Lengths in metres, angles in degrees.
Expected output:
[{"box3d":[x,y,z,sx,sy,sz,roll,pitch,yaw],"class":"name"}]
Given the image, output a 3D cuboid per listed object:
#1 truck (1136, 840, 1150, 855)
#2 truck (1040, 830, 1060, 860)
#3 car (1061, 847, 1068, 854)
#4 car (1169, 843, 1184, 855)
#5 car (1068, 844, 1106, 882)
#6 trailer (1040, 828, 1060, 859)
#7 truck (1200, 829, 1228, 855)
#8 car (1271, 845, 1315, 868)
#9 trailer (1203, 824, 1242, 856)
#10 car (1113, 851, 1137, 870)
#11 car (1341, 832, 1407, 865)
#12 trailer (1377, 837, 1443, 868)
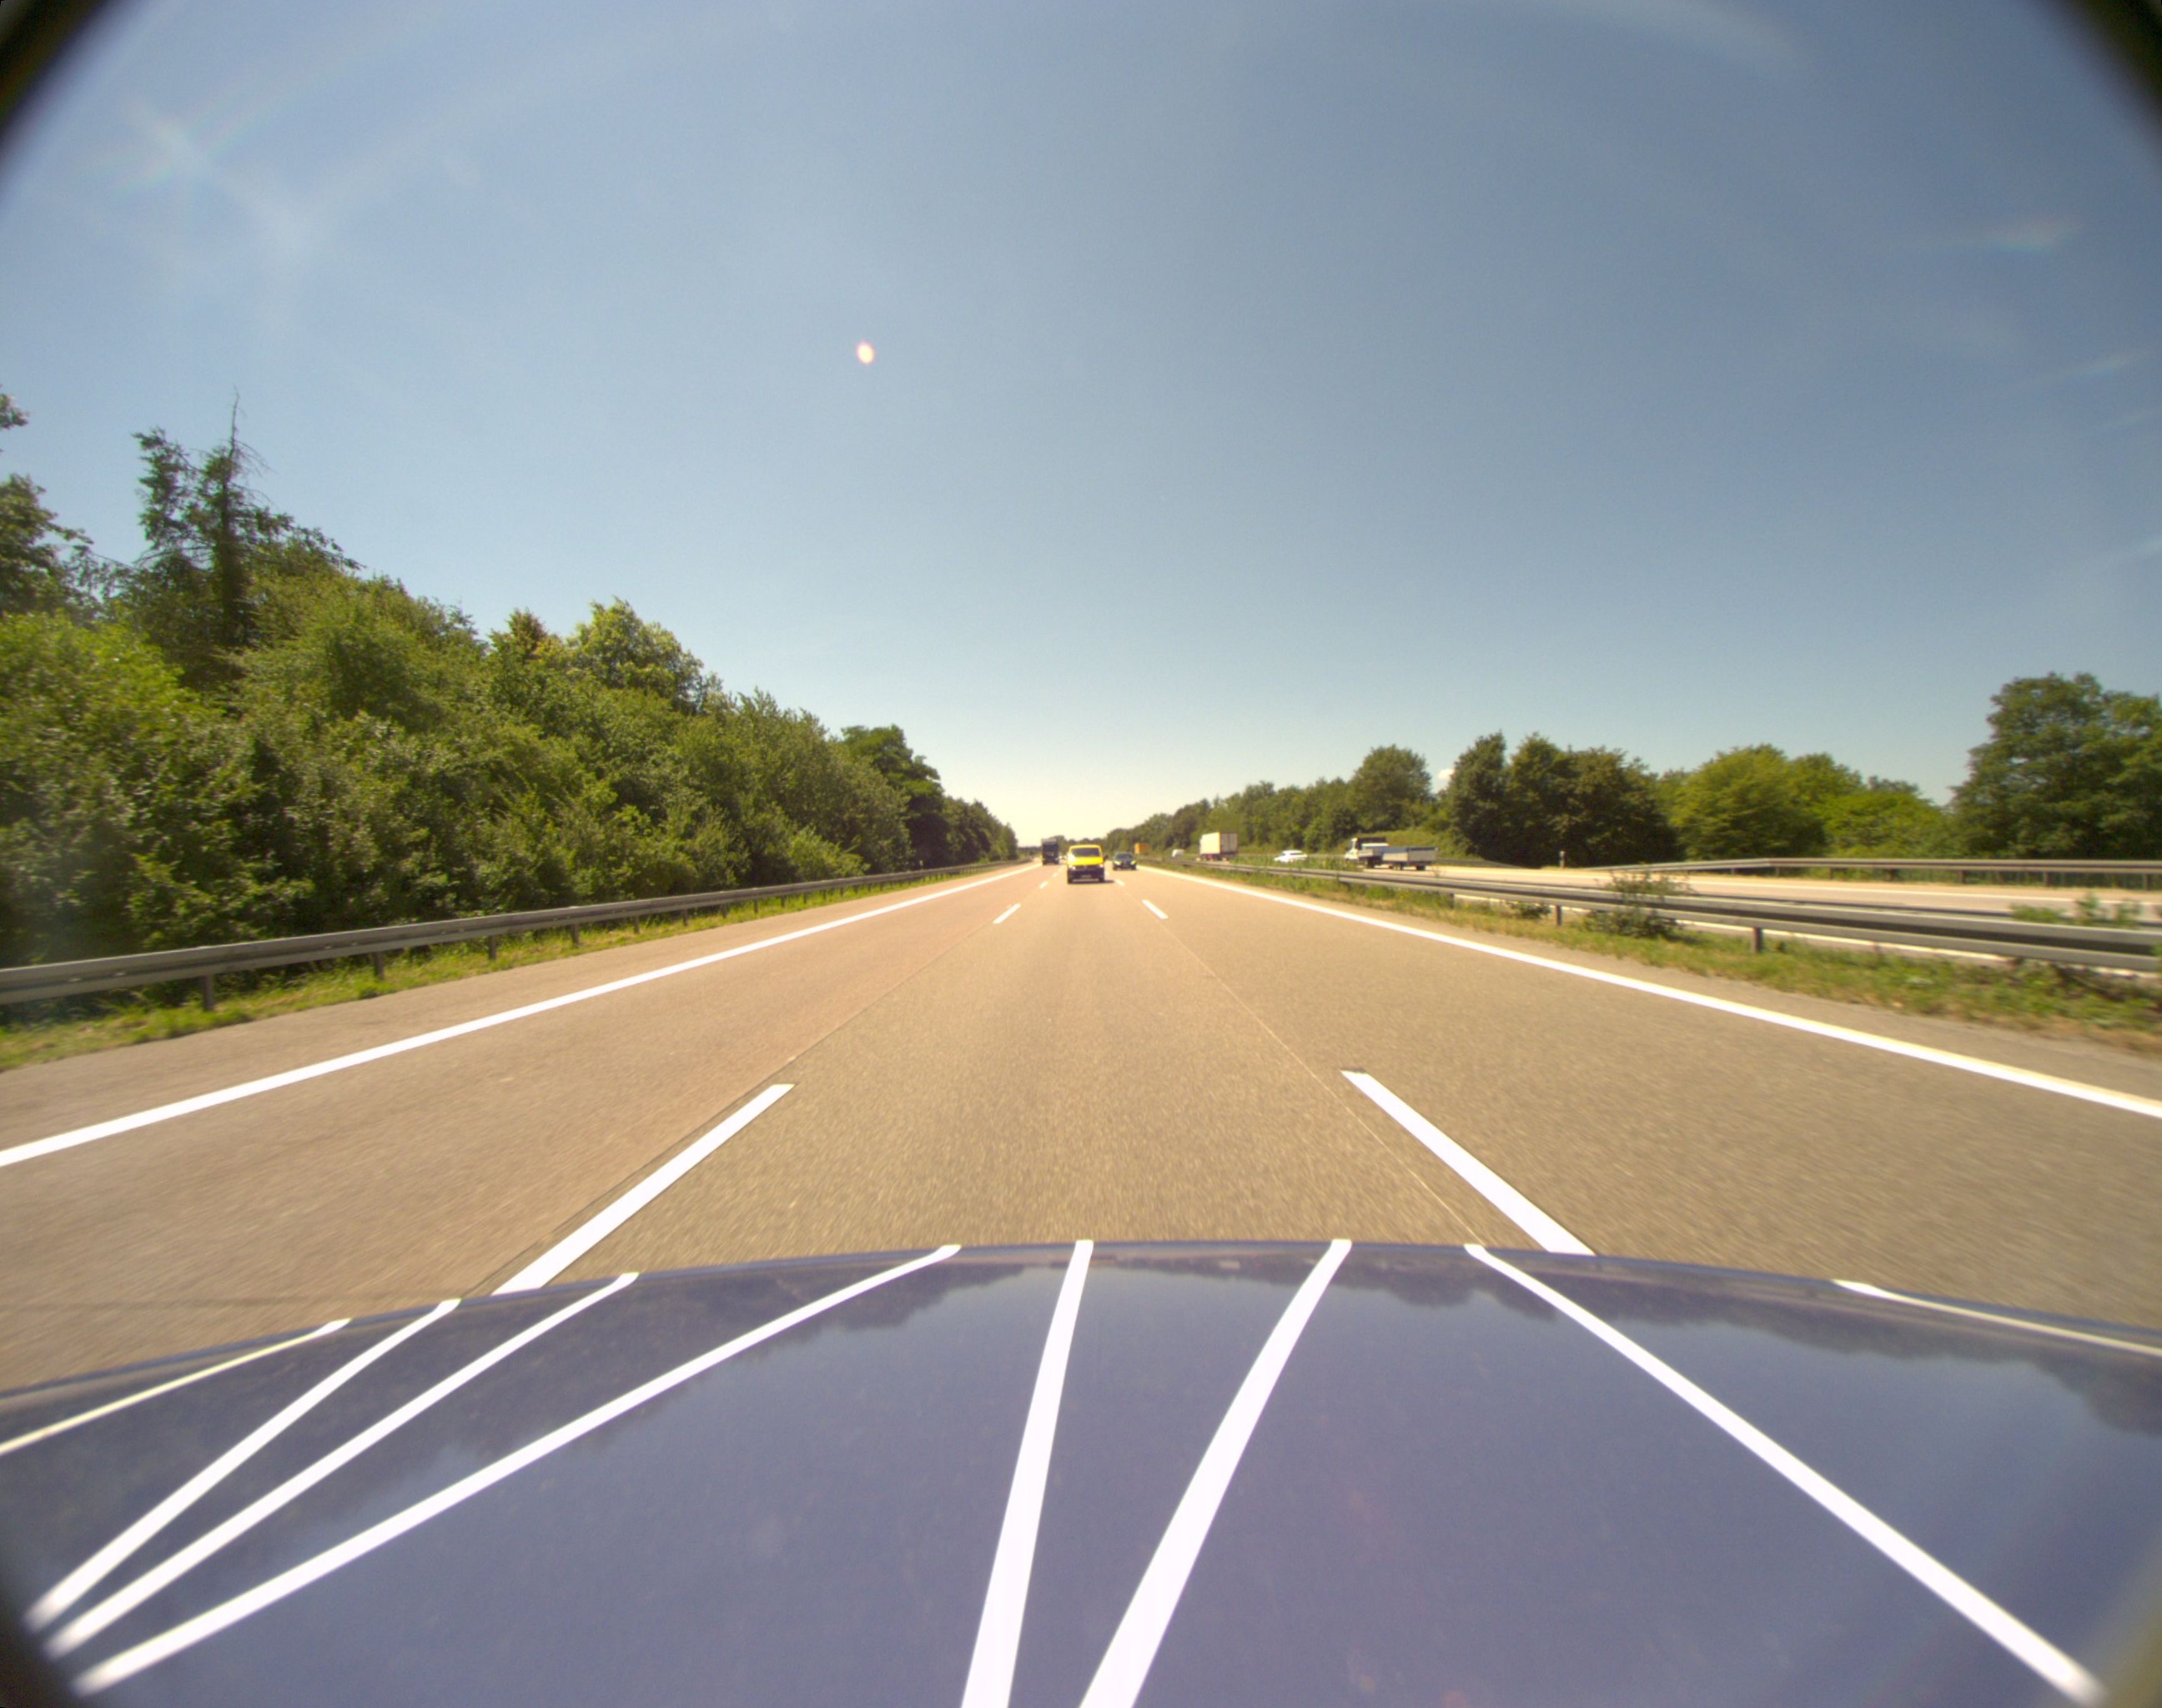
[{"box3d":[16.882,-1.821,207.471,2.757,4.017,10.789,-2,1,-1],"class":"truck"},{"box3d":[-4.666,-1.357,114.656,2.916,4.231,4.973,-2,1,-2],"class":"truck"},{"box3d":[-5.262,-1.167,243.927,1.999,2.002,3.999,-1,0,-1],"class":"car"},{"box3d":[15.854,-0.834,126.289,1.820,1.865,4.877,-2,0,-1],"class":"car"},{"box3d":[0.273,0.429,39.038,1.777,1.882,3.831,-1,0,-2],"class":"car"},{"box3d":[-4.955,-1.569,122.020,2.909,4.630,13.982,-2,0,-2],"class":"trailer"},{"box3d":[20.725,-1.851,118.991,3.269,3.928,6.100,-2,1,0],"class":"truck"},{"box3d":[15.399,0.141,55.396,1.817,1.587,5.009,-1,0,0],"class":"car"},{"box3d":[20.644,-2.021,111.975,3.320,4.336,13.587,-2,0,1],"class":"trailer"},{"box3d":[3.676,0.523,63.805,1.726,1.478,3.999,-2,0,-1],"class":"car"},{"box3d":[20.854,-0.377,54.528,2.249,2.160,6.540,-1,0,1],"class":"car"},{"box3d":[20.837,-0.077,48.395,2.033,1.825,4.989,-1,0,0],"class":"trailer"}]
